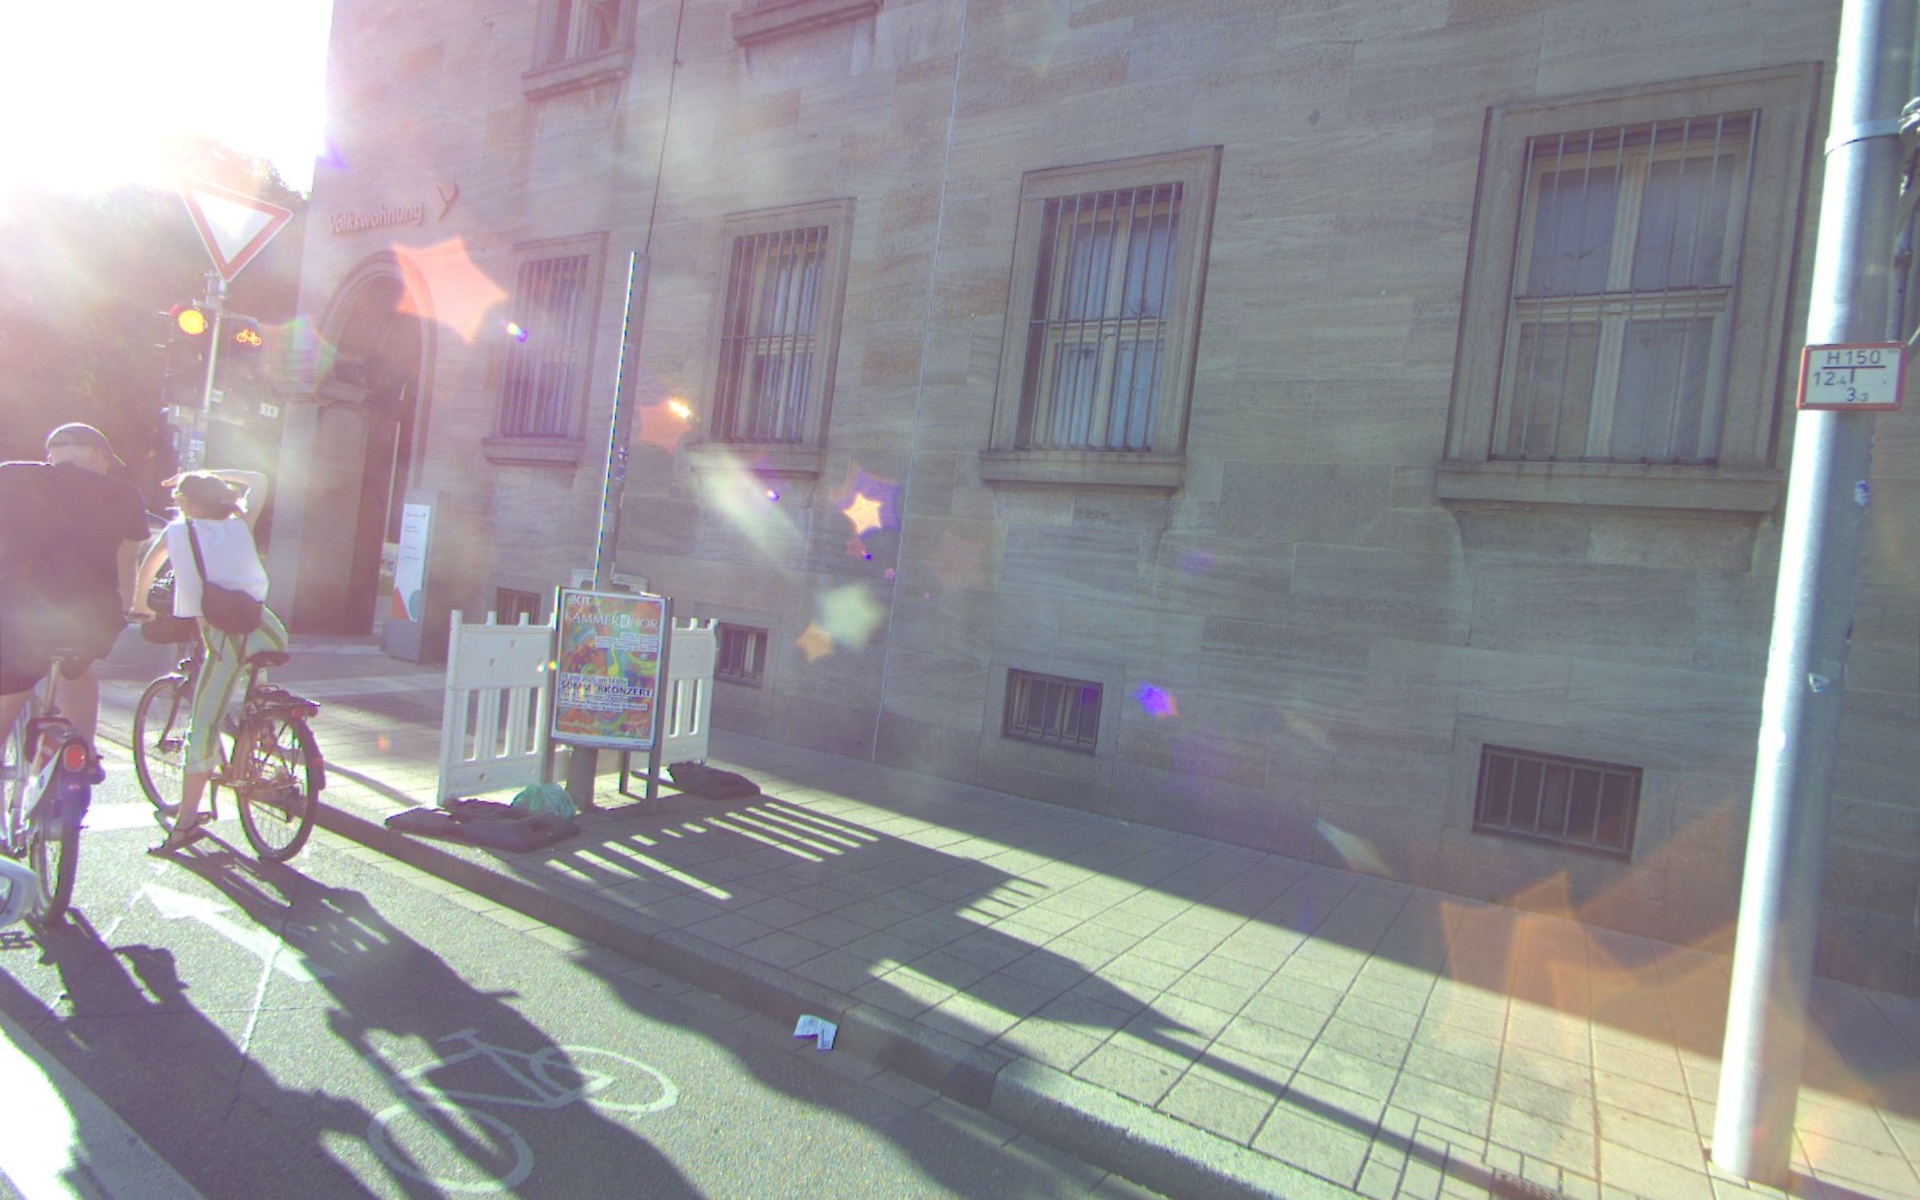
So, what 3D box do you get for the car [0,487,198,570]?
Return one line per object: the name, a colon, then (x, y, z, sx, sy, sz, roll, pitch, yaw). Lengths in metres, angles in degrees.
car: (-23.377, -1.891, 27.206, 1.623, 1.630, 3.999, 7, -1, 31)
